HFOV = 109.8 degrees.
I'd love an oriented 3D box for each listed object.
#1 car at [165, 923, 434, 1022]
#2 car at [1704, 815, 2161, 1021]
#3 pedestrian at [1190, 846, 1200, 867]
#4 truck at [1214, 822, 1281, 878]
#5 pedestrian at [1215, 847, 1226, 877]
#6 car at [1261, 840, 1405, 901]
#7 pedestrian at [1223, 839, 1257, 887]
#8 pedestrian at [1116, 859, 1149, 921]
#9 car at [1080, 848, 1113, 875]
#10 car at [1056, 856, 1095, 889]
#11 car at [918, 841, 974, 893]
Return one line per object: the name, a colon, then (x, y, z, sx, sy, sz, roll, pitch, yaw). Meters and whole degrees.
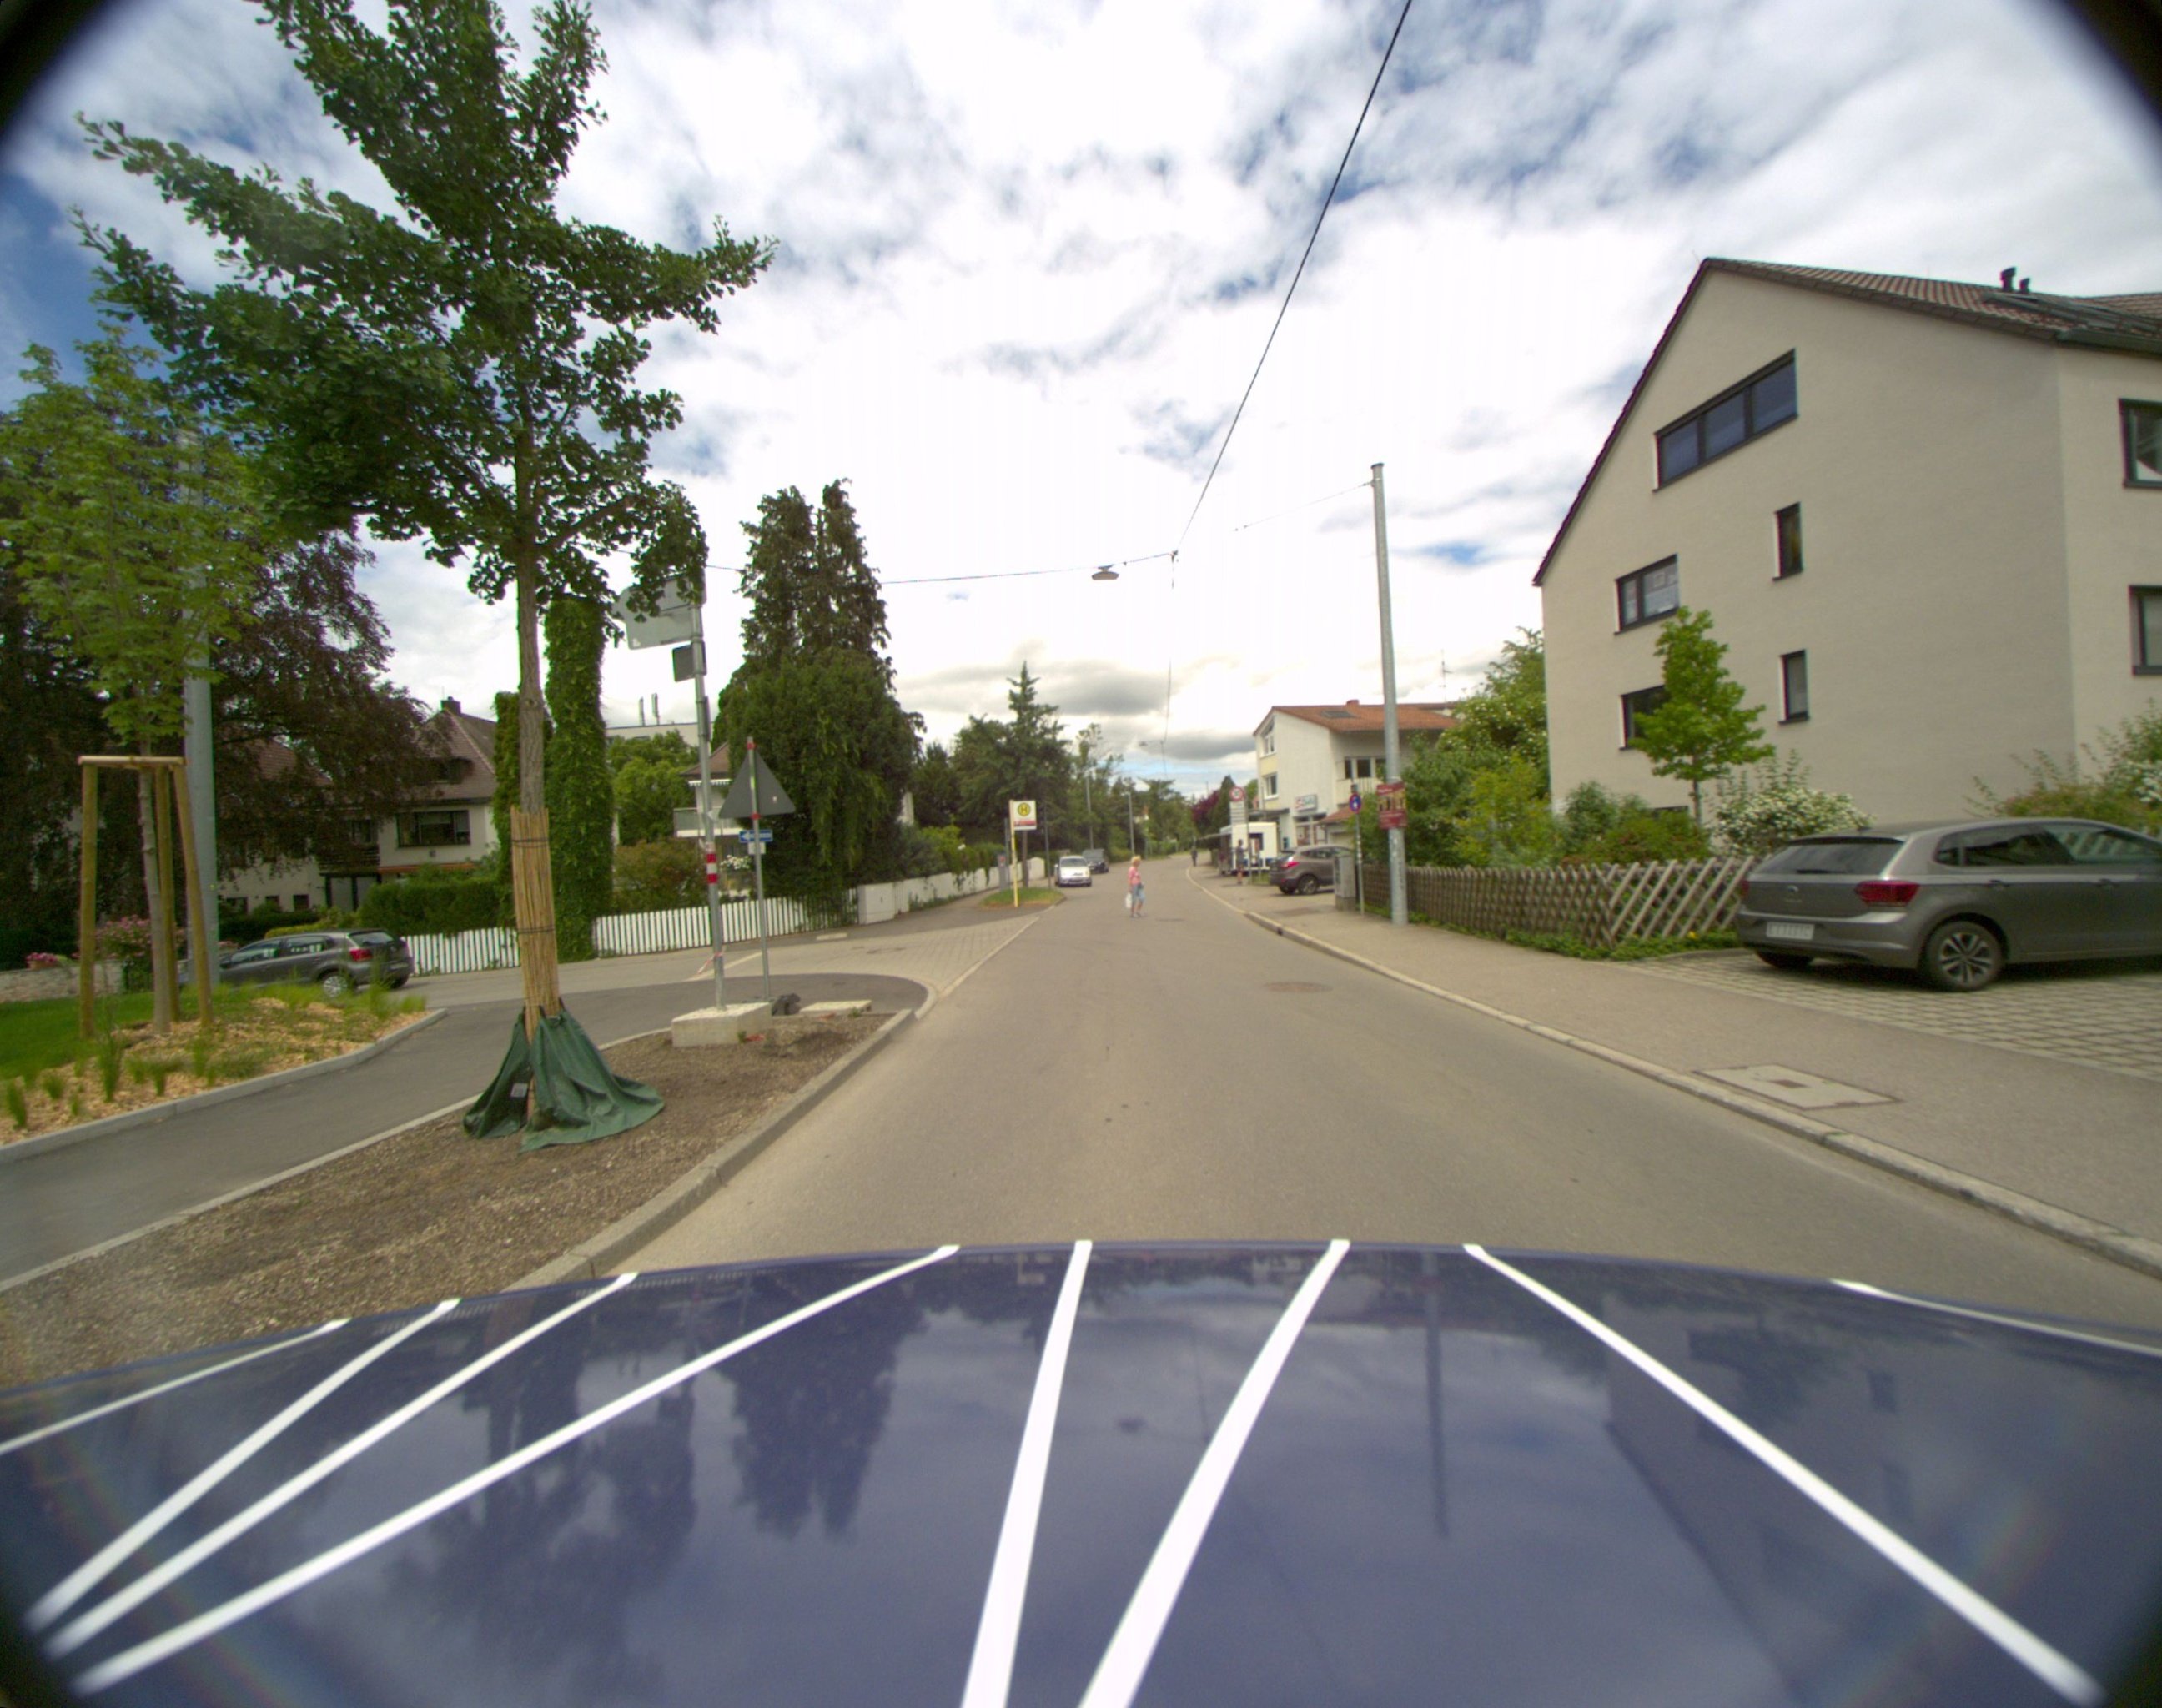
car: (-16.278, 2.437, 16.028, 3.533, 1.449, 1.713, -5, 1, -9)
car: (8.470, 0.501, 7.108, 3.680, 1.426, 1.817, -5, 1, 2)
pedestrian: (10.001, 0.185, 66.495, 0.724, 1.678, 1.108, -5, 6, 8)
truck: (9.333, -0.245, 43.236, 2.479, 2.824, 6.707, -3, 1, 2)
pedestrian: (7.866, 0.447, 42.874, 0.402, 1.685, 0.597, -5, 1, 2)
car: (8.737, 0.537, 26.551, 4.324, 1.686, 1.797, -5, 1, -7)
pedestrian: (6.809, 0.373, 32.511, 1.216, 1.934, 0.735, -5, 1, 8)
pedestrian: (1.401, 0.964, 20.612, 0.856, 1.636, 0.884, 0, 1, 5)
car: (1.252, 0.527, 58.579, 1.913, 1.838, 5.160, -3, 1, 7)
car: (-0.331, 0.919, 39.784, 1.764, 1.573, 4.016, -2, 1, -3)
car: (-7.817, 0.721, 44.559, 2.504, 2.666, 5.184, -5, 1, -4)
